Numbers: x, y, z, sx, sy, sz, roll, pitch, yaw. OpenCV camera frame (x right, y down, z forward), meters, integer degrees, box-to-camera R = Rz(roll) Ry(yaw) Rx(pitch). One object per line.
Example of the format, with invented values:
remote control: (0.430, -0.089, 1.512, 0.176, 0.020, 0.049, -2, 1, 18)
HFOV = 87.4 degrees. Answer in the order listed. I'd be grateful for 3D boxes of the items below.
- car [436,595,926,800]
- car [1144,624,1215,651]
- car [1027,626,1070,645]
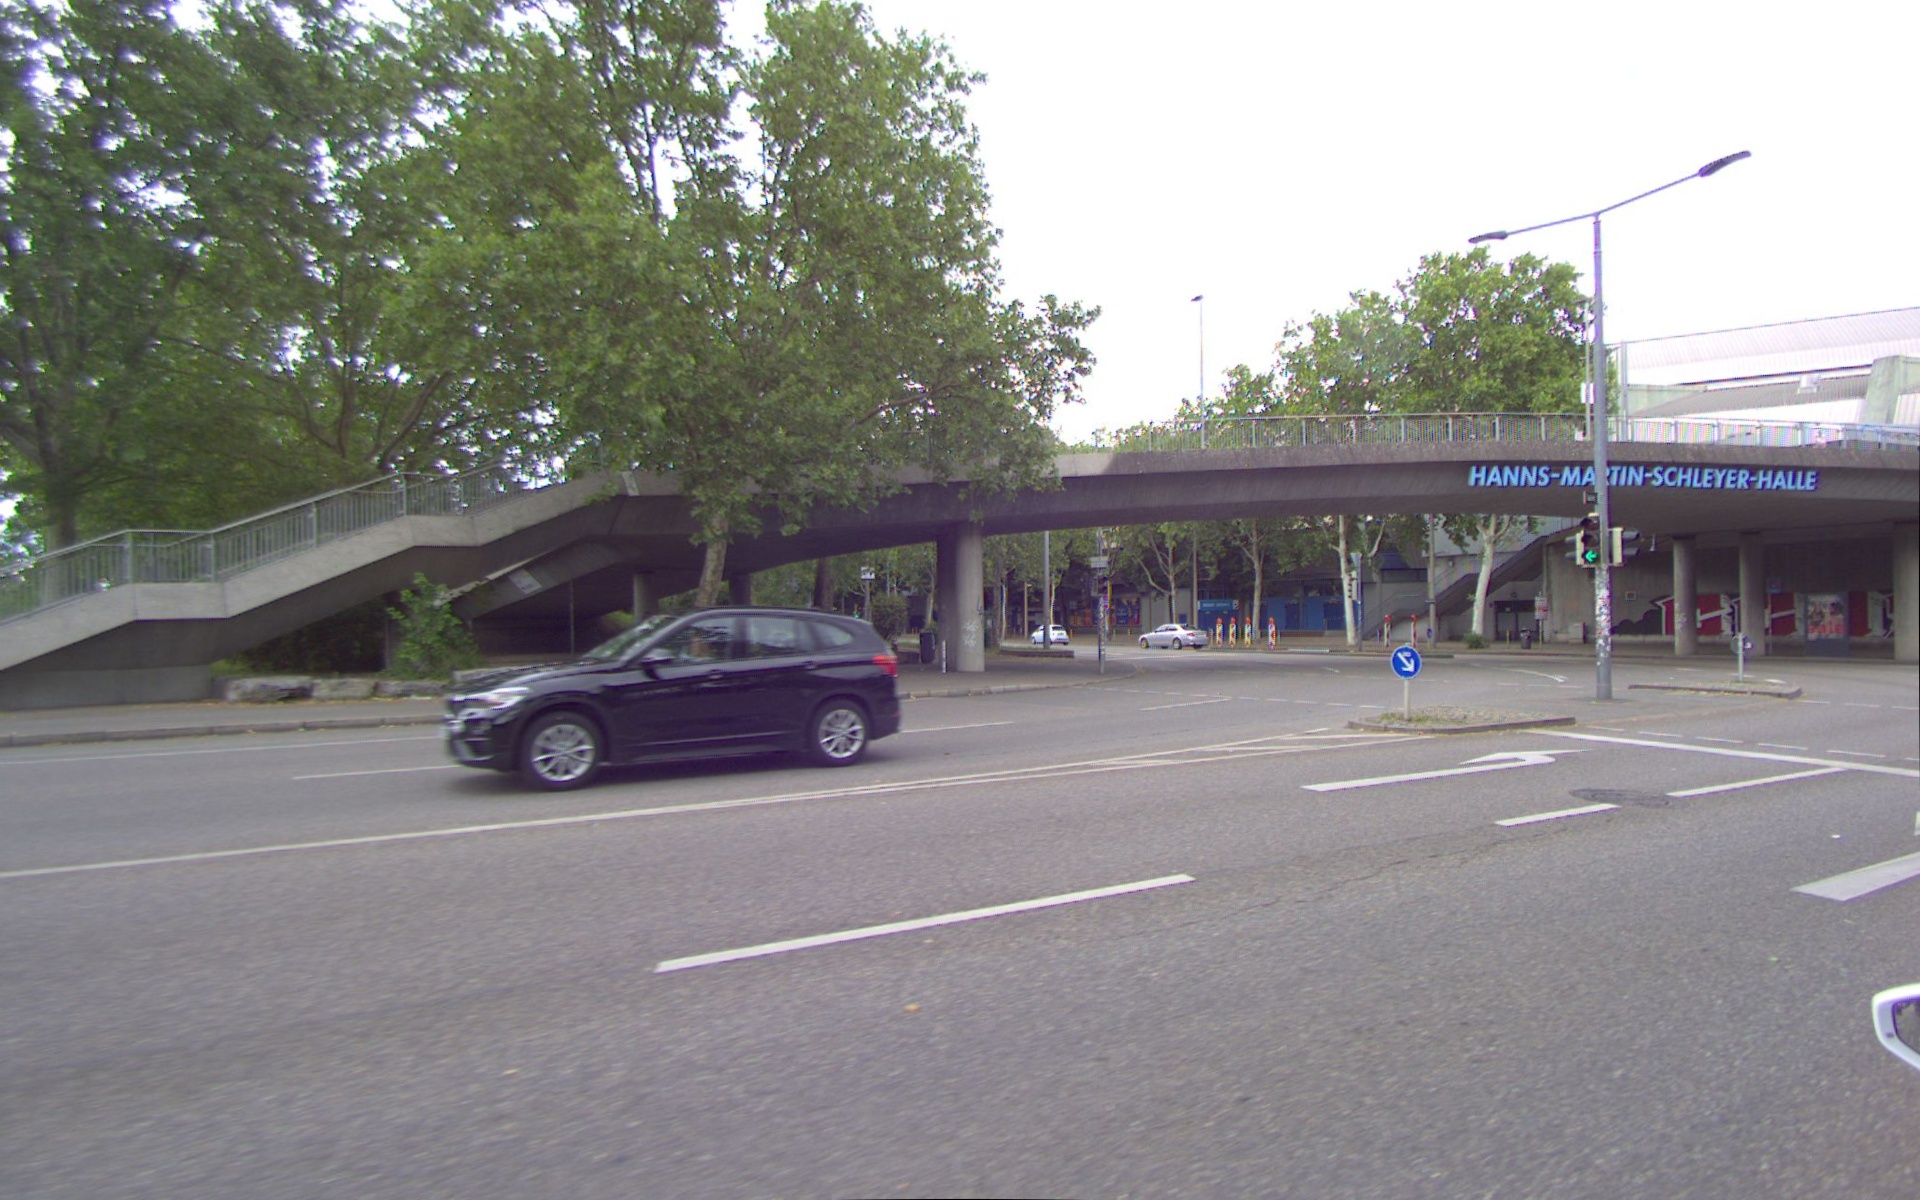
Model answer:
car: (-2.647, 0.836, 9.979, 4.383, 1.627, 1.759, 1, -3, -35)
car: (12.825, 2.177, 58.956, 1.976, 1.437, 3.970, 1, -1, -29)
car: (6.565, 2.622, 74.422, 1.596, 1.330, 3.370, 1, -1, -29)
